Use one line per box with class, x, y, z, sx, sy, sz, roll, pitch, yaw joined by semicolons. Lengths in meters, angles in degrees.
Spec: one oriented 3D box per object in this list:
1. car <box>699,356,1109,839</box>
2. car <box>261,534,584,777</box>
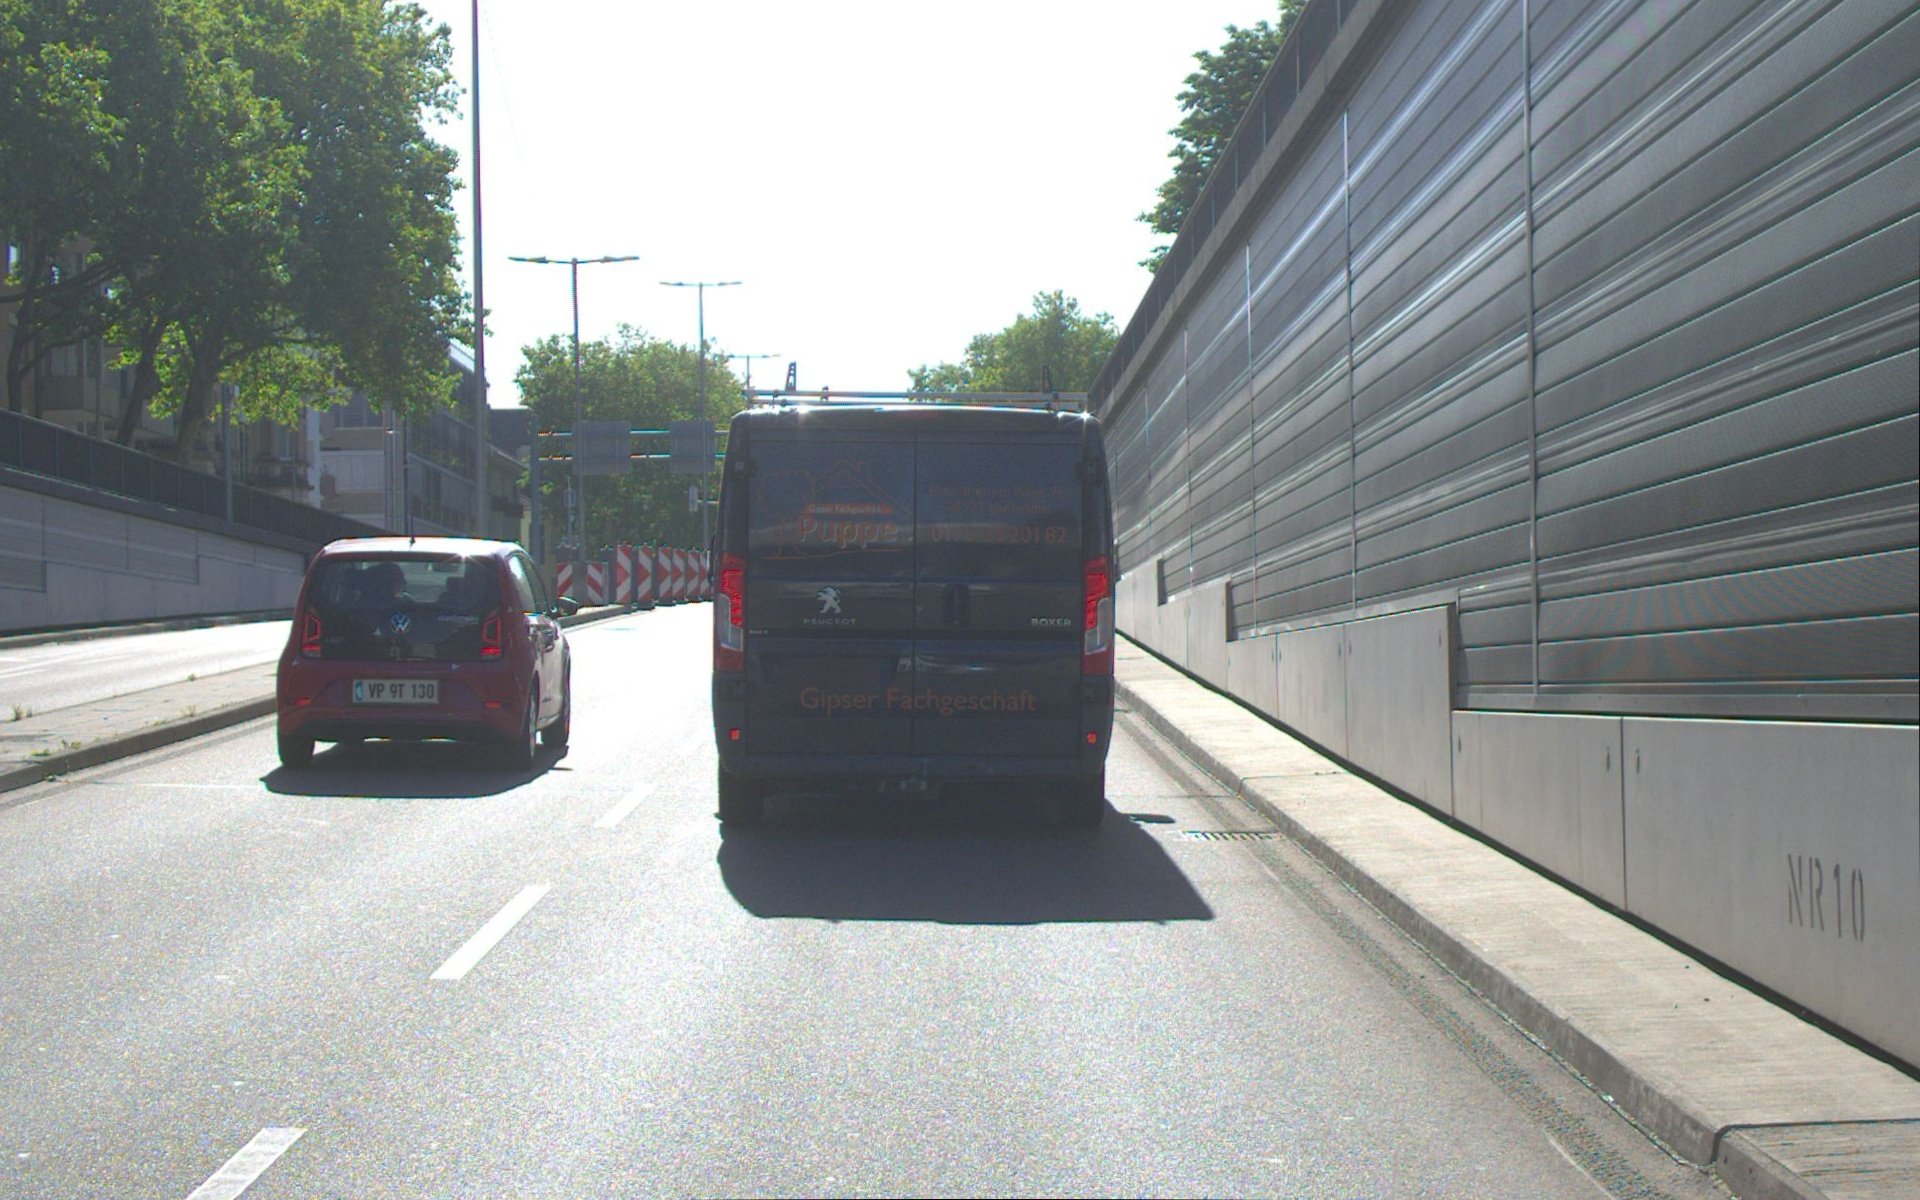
car;-0.298;-0.025;19.059;2.030;2.394;3.973;0;0;-1
car;-3.505;0.314;22.921;1.689;1.478;3.319;1;1;-1
